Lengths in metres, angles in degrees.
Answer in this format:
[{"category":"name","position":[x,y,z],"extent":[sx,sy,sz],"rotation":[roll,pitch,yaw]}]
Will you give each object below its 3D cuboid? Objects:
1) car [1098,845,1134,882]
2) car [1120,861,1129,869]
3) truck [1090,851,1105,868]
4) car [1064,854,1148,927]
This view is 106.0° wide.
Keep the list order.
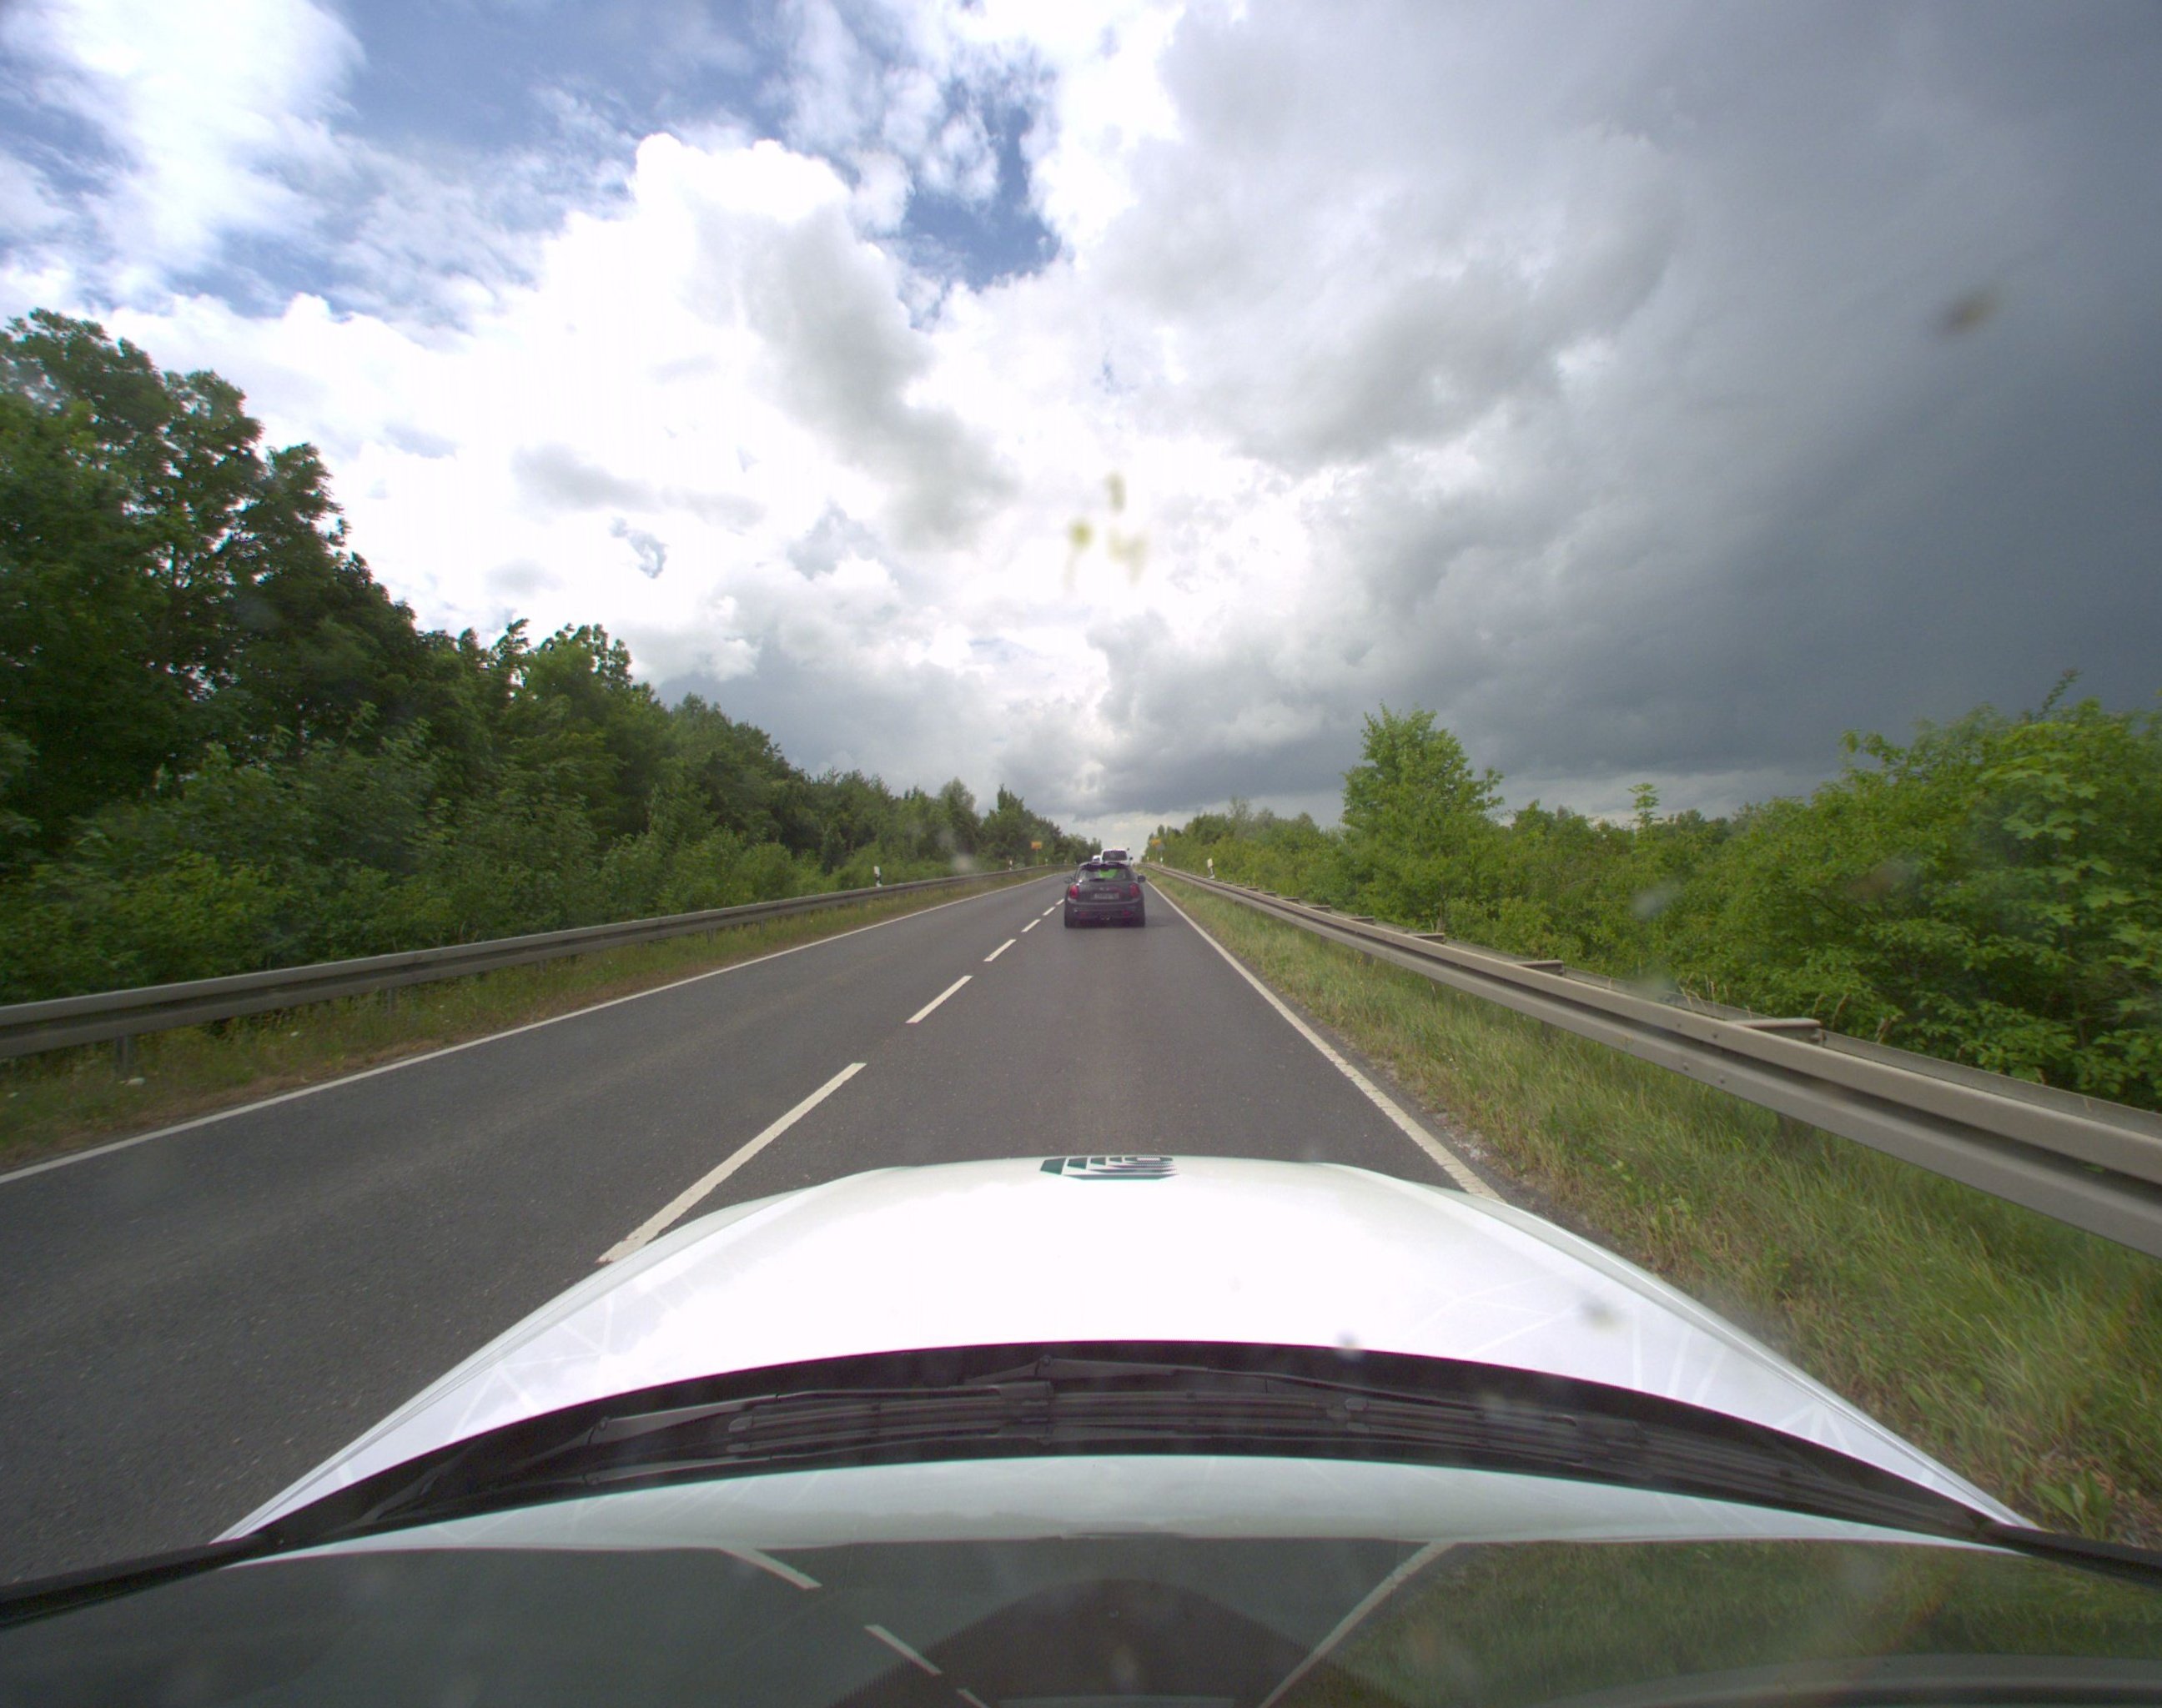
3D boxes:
[{"category":"car","position":[2.109,0.557,48.358],"extent":[2.014,2.013,4.003],"rotation":[-2,-1,3]},{"category":"car","position":[8.442,2.158,157.549],"extent":[1.686,1.319,4.005],"rotation":[-3,0,5]},{"category":"truck","position":[2.835,0.936,138.110],"extent":[2.056,2.742,7.013],"rotation":[-1,0,3]},{"category":"car","position":[0.539,0.763,18.932],"extent":[1.726,1.456,4.000],"rotation":[-1,0,0]}]
